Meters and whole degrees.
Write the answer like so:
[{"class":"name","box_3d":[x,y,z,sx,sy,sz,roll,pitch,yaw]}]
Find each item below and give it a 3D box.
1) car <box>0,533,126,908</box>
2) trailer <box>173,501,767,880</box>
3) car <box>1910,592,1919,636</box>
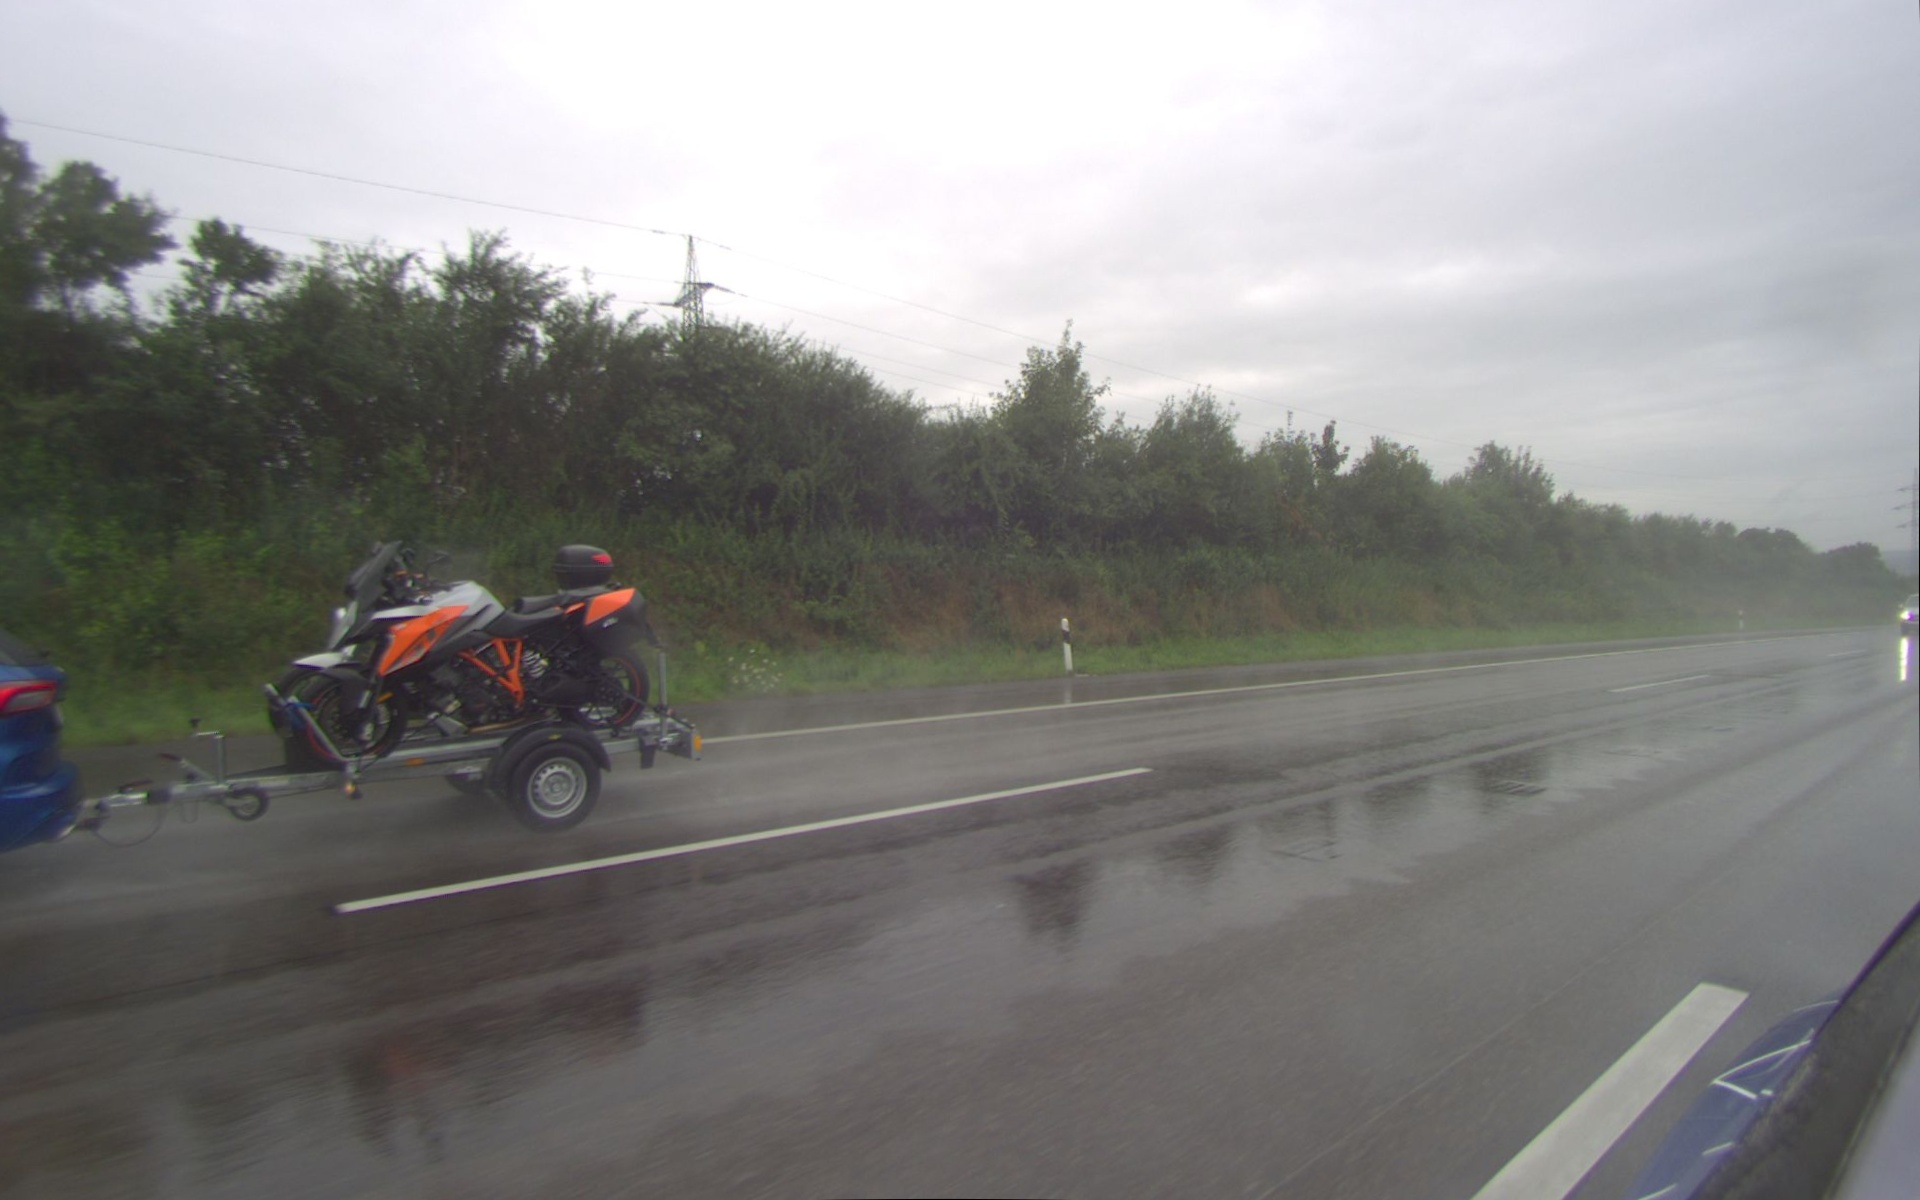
[{"class":"car","box_3d":[-6.408,0.541,3.893,4.903,1.639,1.998,-1,1,-39]},{"class":"trailer","box_3d":[-3.127,0.405,6.598,3.132,1.807,1.983,-1,1,-39]},{"class":"car","box_3d":[46.393,0.664,47.733,3.931,2.039,1.996,1,-1,-42]}]
